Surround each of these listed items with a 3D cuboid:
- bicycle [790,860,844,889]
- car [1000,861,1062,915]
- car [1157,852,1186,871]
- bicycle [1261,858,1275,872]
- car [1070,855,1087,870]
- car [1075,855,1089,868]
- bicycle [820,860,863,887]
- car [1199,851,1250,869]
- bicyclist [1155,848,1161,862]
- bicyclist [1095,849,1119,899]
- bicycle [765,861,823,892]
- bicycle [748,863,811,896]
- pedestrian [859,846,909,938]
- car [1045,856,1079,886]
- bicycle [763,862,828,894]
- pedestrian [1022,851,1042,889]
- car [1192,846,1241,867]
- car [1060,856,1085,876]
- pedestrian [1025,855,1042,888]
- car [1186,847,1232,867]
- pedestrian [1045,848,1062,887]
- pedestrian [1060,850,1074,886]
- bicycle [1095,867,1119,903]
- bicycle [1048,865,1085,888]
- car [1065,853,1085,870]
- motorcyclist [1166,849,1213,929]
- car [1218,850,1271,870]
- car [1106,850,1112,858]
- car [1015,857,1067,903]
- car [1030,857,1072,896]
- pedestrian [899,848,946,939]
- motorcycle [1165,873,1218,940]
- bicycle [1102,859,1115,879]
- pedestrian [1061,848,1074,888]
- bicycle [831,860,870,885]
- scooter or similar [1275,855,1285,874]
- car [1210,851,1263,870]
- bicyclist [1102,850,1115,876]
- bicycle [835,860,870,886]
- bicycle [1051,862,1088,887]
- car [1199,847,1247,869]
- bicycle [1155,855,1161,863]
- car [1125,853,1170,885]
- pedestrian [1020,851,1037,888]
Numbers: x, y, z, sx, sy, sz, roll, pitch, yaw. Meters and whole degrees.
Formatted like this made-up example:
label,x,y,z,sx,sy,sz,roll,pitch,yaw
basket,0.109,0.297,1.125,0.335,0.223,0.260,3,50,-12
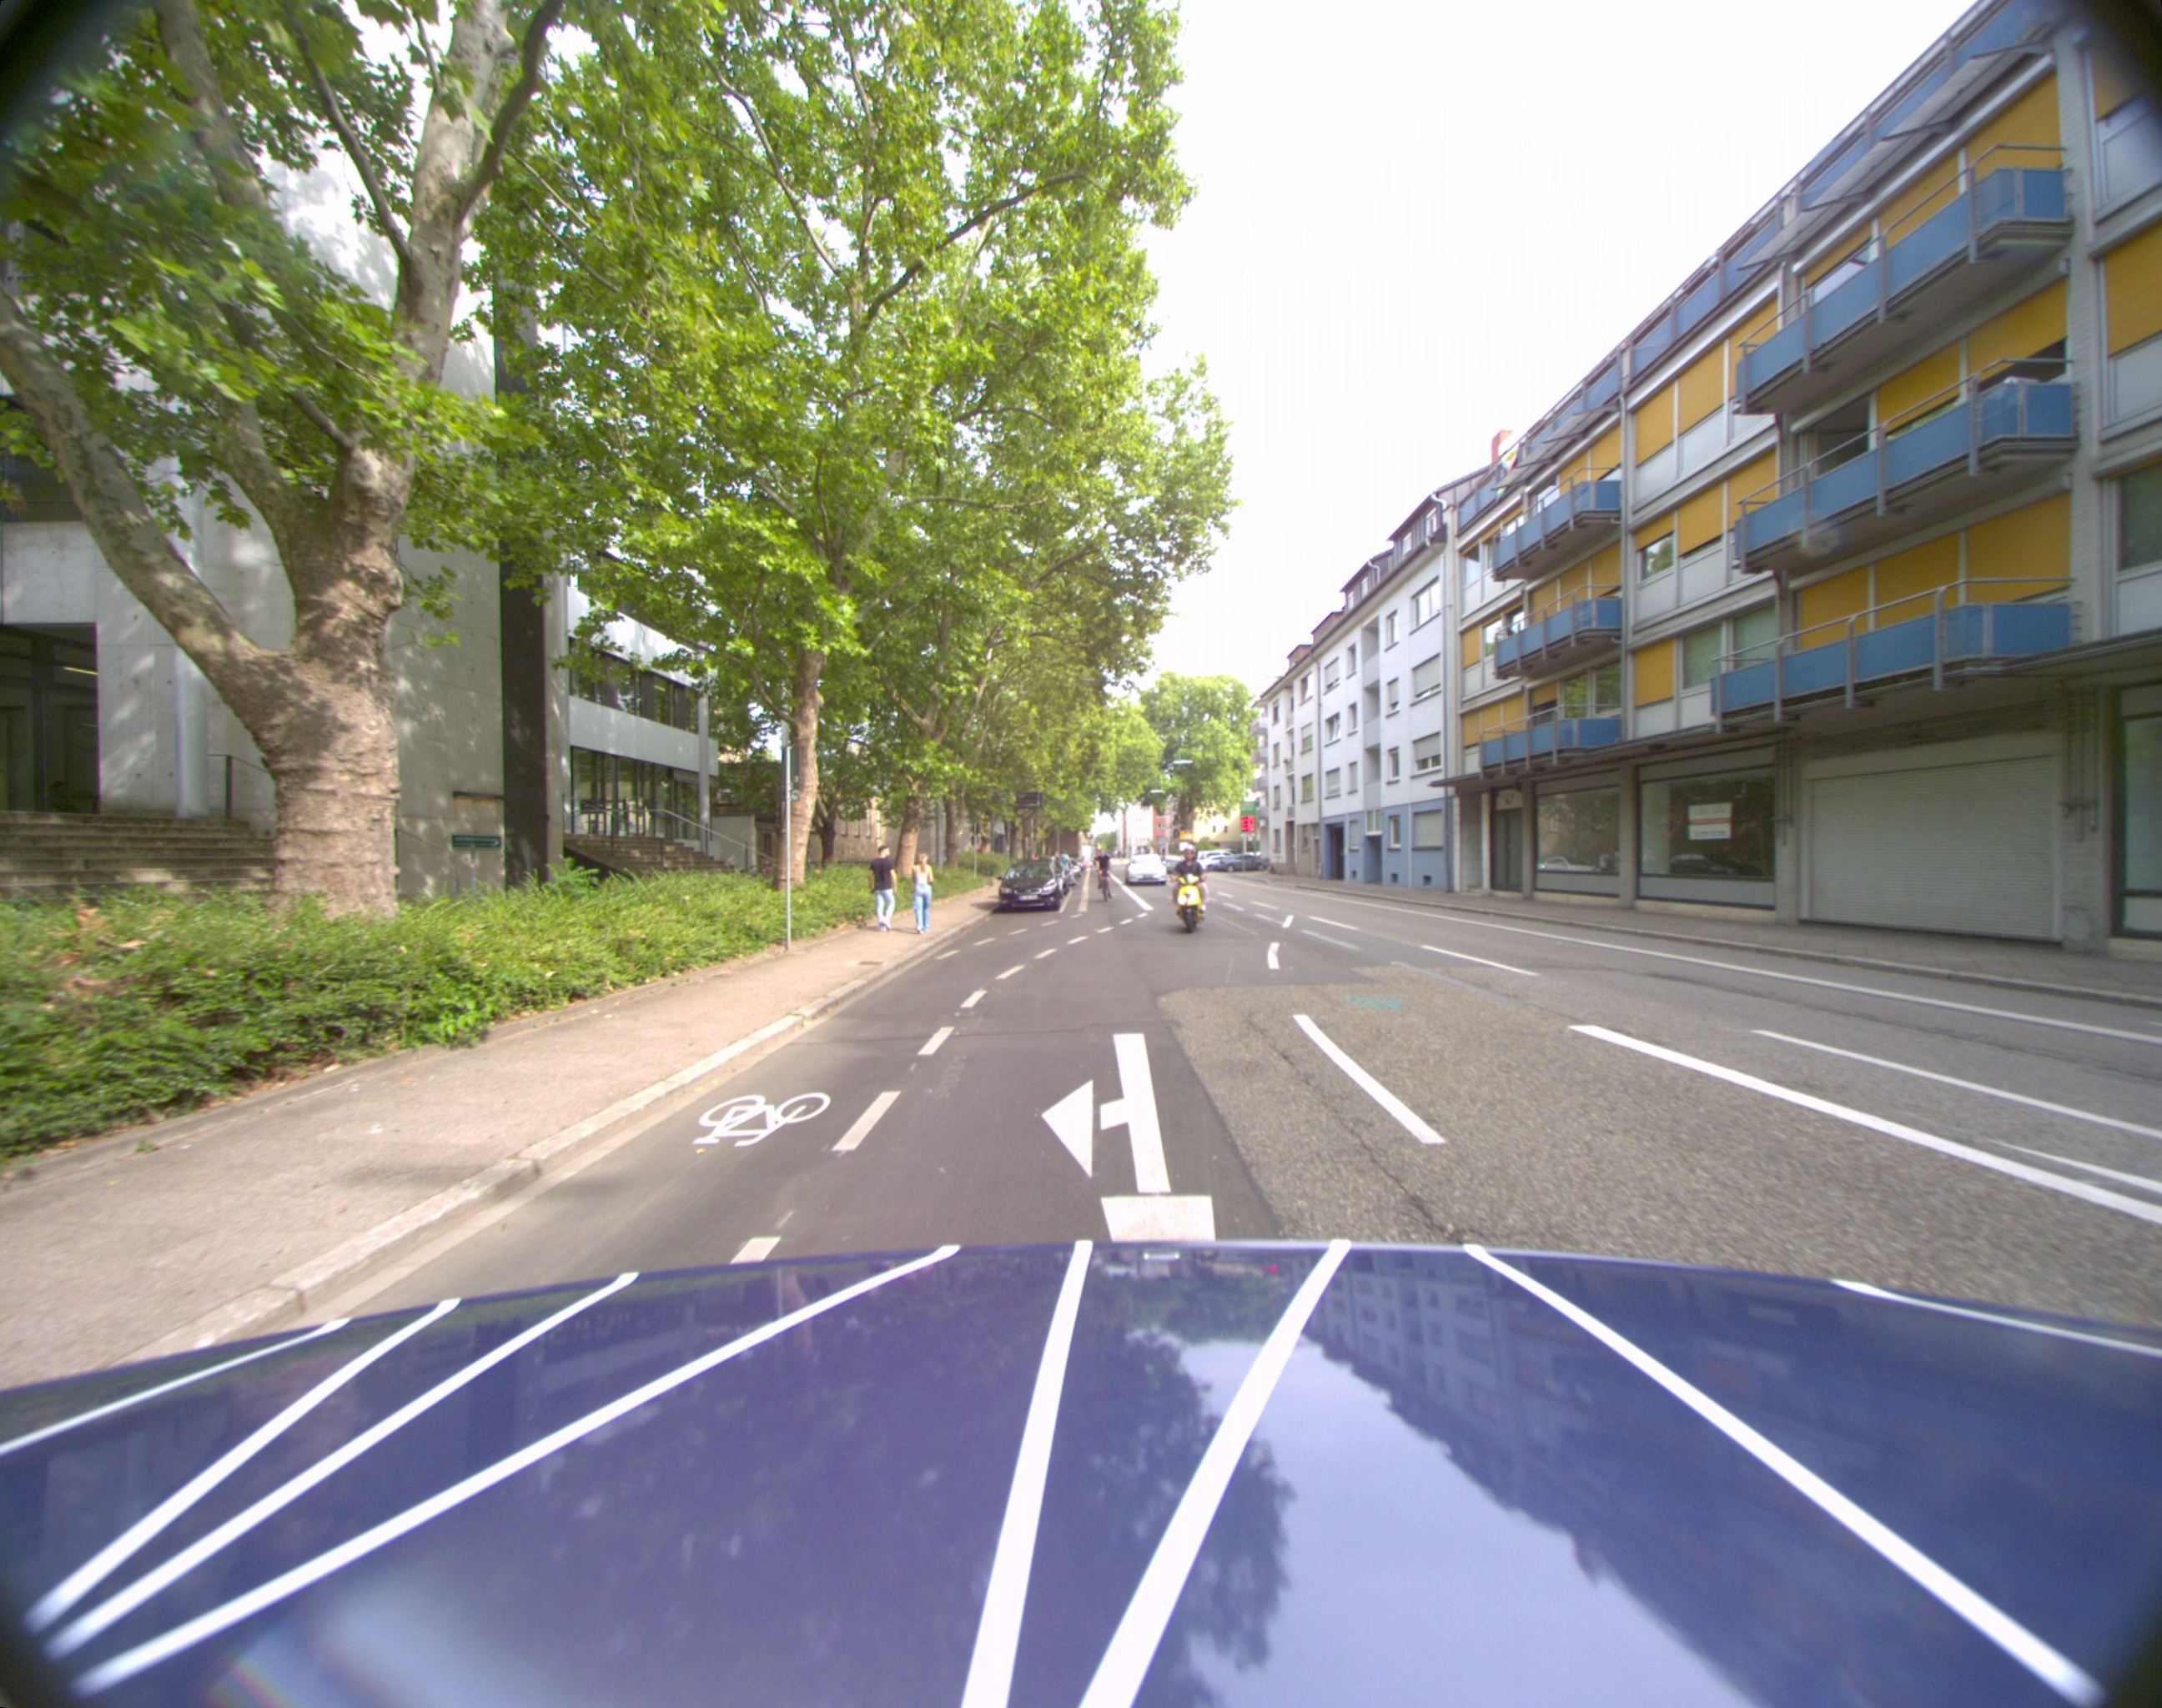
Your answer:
label,x,y,z,sx,sy,sz,roll,pitch,yaw
bicycle,-10.601,0.822,30.534,1.919,1.111,0.673,0,1,1
car,-1.481,0.990,23.706,1.702,1.417,4.421,-2,0,-2
car,7.193,0.570,60.769,1.762,1.419,4.098,1,0,0
bicycle,12.825,0.763,52.186,0.598,0.945,1.663,-2,0,1
car,-0.239,0.888,82.447,1.643,1.424,4.573,-3,0,1
car,0.182,0.946,97.502,1.602,1.438,4.105,-3,0,1
bicycle,-10.008,0.811,31.765,1.701,1.111,0.622,0,1,-18
car,13.270,0.583,70.359,4.281,1.442,1.874,-3,0,1
bicyclist,10.576,0.113,104.217,0.653,1.800,1.045,-1,1,0
bicyclist,0.895,0.692,26.433,0.764,1.699,0.917,-2,1,1
bicycle,-10.717,0.845,28.425,1.919,1.111,0.673,0,1,1
bicycle,-10.319,0.858,26.041,1.919,1.111,0.673,0,1,1
pedestrian,-3.970,0.743,15.349,0.717,1.789,1.033,1,1,0
car,-1.058,0.906,42.321,1.685,1.507,4.543,-3,0,-1
bicycle,-10.274,0.844,27.377,2.084,1.111,0.673,0,1,1
pedestrian,-2.423,0.792,37.510,0.873,1.806,0.780,-2,1,1
car,14.177,0.308,79.893,4.778,1.923,1.994,-3,0,2
car,-0.698,0.884,58.507,1.647,1.438,3.881,-2,0,-4
pedestrian,-2.388,0.863,38.289,0.723,1.648,0.655,-2,1,1
car,13.823,0.346,82.365,4.627,1.848,1.950,-3,0,2
pedestrian,-1.419,0.686,39.431,0.795,1.986,0.750,-2,1,1
pedestrian,-0.729,0.720,38.937,0.522,1.834,0.744,-2,1,-14
bicycle,0.905,1.053,26.490,0.763,1.162,1.950,-2,0,1
bicycle,-0.725,1.103,37.397,1.740,1.099,0.552,-2,1,-10
car,-0.638,0.777,77.141,1.926,1.612,4.480,-3,0,-1
motorcyclist,2.236,0.705,15.672,0.904,1.608,0.691,-1,1,5
car,14.158,0.524,65.782,4.161,1.504,1.837,-3,0,1
car,8.942,-0.114,241.586,1.998,2.546,4.799,-1,0,1
car,-1.420,0.912,27.923,1.539,1.534,2.599,-2,0,4
car,-1.233,0.920,32.671,1.532,1.493,3.660,-2,0,1
pedestrian,-3.199,0.776,15.398,0.712,1.773,1.033,1,1,0
motorcycle,2.234,1.019,15.673,0.904,1.190,2.631,-1,0,5
bicycle,1.748,0.929,47.954,0.763,1.162,1.950,-2,0,1
pedestrian,-0.656,0.686,37.661,0.476,1.923,0.744,-2,1,-10
bicycle,-10.121,0.815,33.399,1.544,1.111,0.468,0,1,-7
scooter or similar,12.966,0.650,49.477,0.350,1.214,1.202,-2,0,1
car,13.910,0.559,68.139,4.311,1.442,1.910,-3,0,1
bicyclist,1.748,0.572,47.958,0.748,1.590,0.819,-2,1,1
bicycle,-9.897,0.814,32.952,1.382,1.111,0.468,0,1,-7
bicycle,-0.586,1.032,38.665,1.796,1.210,0.552,-2,1,-16
car,13.671,0.360,73.128,4.221,1.837,1.924,-3,0,1
bicycle,10.592,0.646,104.269,0.647,1.008,2.076,-1,1,1
car,3.443,0.728,40.087,2.000,1.556,4.551,-1,0,1
pedestrian,-2.709,0.787,39.327,0.723,1.844,0.703,-2,1,1
